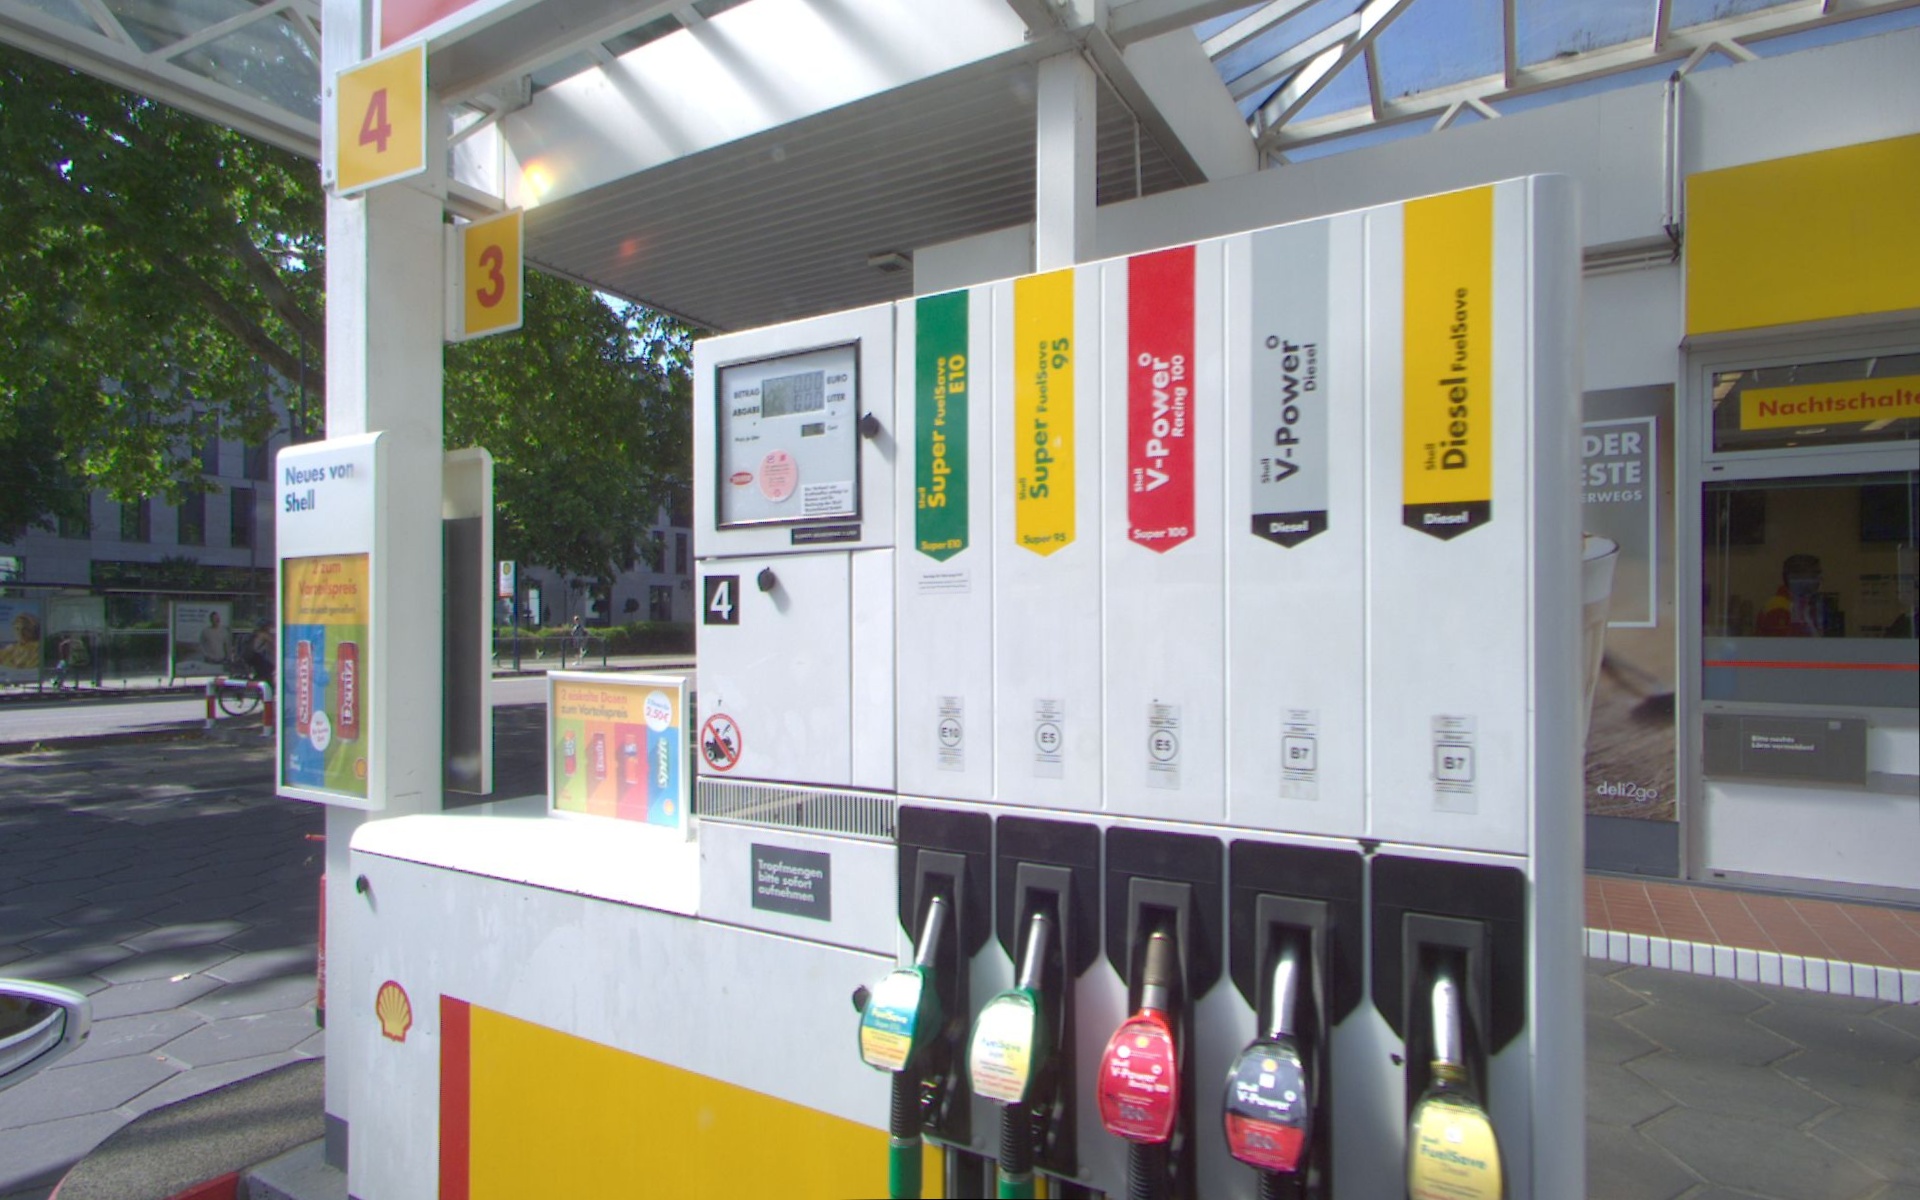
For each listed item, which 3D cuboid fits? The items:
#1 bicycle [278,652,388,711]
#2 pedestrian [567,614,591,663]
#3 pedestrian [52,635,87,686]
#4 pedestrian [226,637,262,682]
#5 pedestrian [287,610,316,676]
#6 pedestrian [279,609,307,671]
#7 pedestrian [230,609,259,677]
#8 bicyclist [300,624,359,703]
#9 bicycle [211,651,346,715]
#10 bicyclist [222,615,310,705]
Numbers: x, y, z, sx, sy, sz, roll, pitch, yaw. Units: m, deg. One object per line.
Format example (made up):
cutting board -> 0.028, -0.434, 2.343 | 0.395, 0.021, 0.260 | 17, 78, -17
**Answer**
bicycle -> -12.648, 1.612, 20.257 | 0.517, 1.096, 1.859 | 0, -1, 29
pedestrian -> -13.988, 1.403, 36.765 | 0.689, 1.758, 0.498 | 1, -1, -44
pedestrian -> -20.539, 1.395, 23.099 | 0.517, 1.152, 0.497 | 0, -1, 37
pedestrian -> -18.779, 1.556, 26.261 | 0.517, 1.152, 0.626 | 0, -1, 37
pedestrian -> -17.996, 1.170, 27.368 | 0.517, 1.758, 0.498 | 0, -1, 33
pedestrian -> -19.050, 1.131, 28.585 | 0.517, 1.758, 0.498 | 0, -1, 33
pedestrian -> -18.829, 1.118, 26.348 | 0.400, 1.758, 0.498 | 0, -1, 33
bicyclist -> -12.706, 1.264, 20.196 | 0.527, 1.563, 0.862 | -1, -1, 29
bicycle -> -12.680, 1.519, 18.713 | 0.630, 1.096, 2.017 | 0, -1, 30
bicyclist -> -12.802, 1.092, 18.490 | 0.630, 1.601, 1.168 | 0, -1, 30
